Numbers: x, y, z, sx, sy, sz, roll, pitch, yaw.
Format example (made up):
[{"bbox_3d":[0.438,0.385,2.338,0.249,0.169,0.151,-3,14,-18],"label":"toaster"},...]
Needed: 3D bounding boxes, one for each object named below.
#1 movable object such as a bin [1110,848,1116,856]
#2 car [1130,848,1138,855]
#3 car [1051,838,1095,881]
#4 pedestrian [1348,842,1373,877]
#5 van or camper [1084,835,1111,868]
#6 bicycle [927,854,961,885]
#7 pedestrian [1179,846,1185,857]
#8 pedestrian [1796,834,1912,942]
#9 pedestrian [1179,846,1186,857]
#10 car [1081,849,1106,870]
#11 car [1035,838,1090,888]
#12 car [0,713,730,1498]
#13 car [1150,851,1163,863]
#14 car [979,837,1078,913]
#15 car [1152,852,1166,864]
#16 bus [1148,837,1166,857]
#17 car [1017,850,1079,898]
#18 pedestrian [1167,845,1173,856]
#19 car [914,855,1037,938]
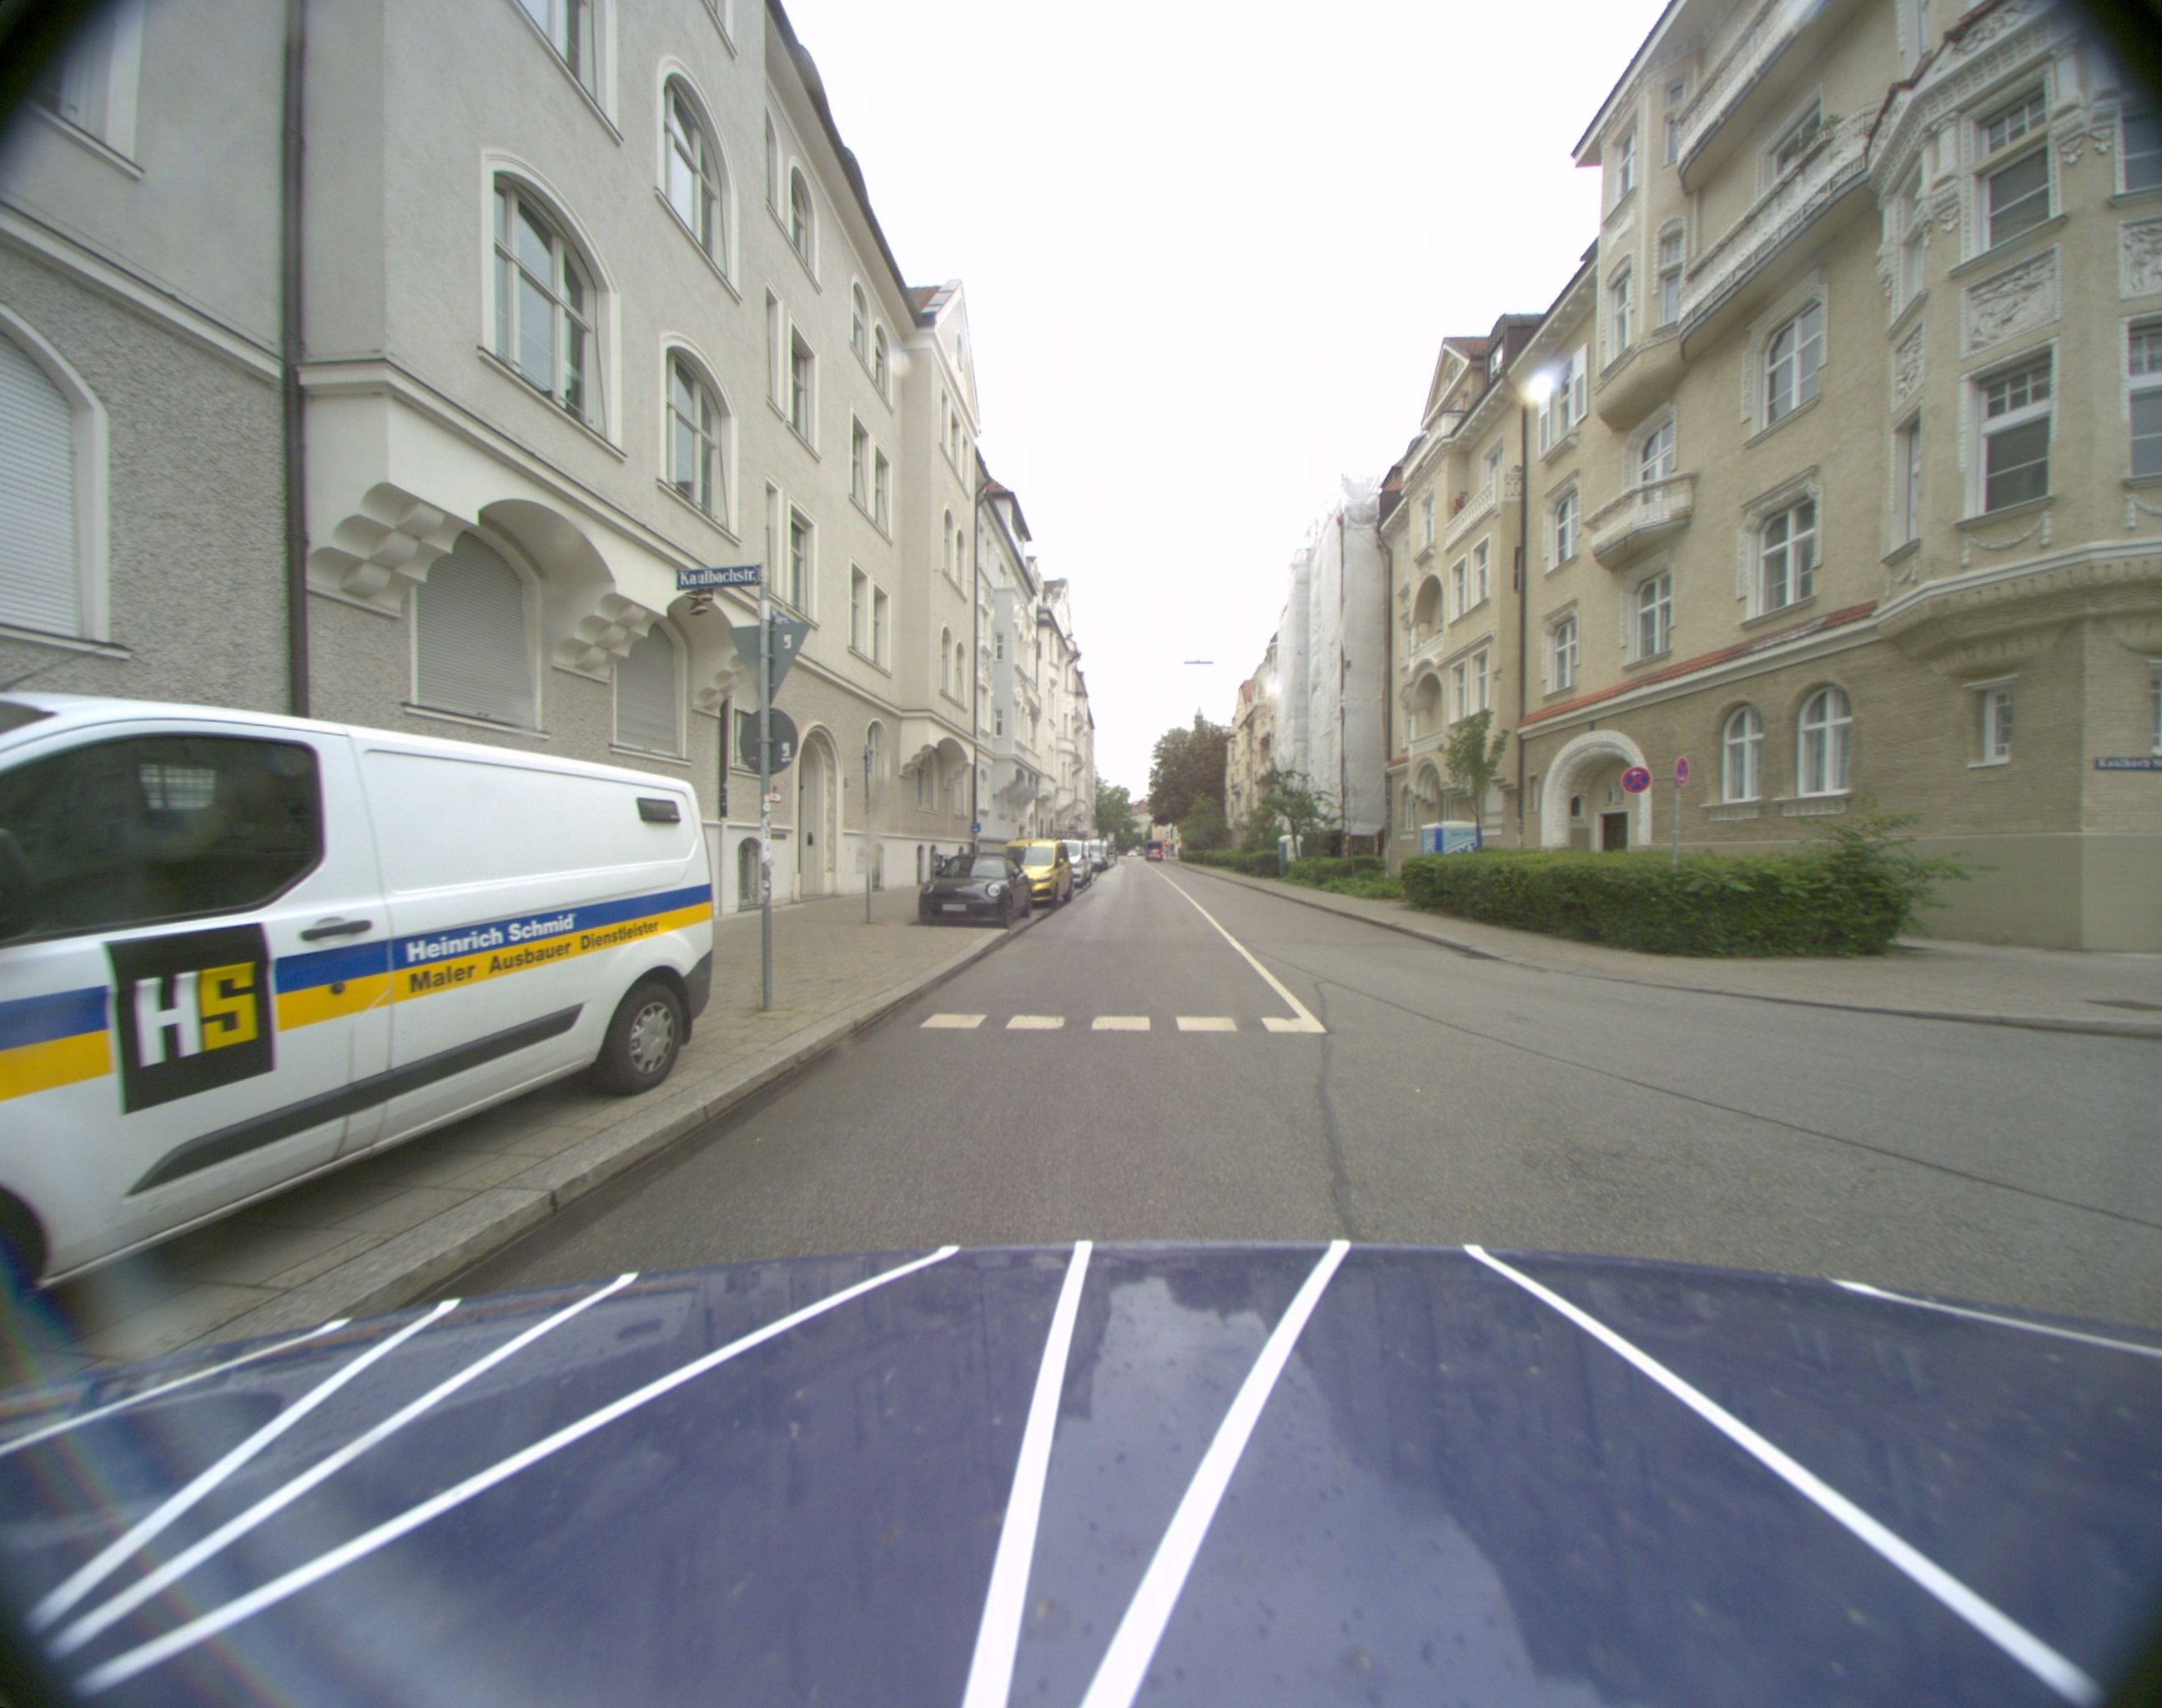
[{"bbox_3d":[5.259,-0.304,124.422,0.877,1.243,0.798,1,1,-2],"label":"movable object such as a bin"},{"bbox_3d":[12.823,-0.563,183.626,1.926,1.608,4.000,0,1,3],"label":"car"},{"bbox_3d":[-0.333,0.245,38.567,1.964,2.002,4.993,1,1,2],"label":"car"},{"bbox_3d":[14.138,0.257,38.454,0.915,1.741,0.948,1,1,4],"label":"pedestrian"},{"bbox_3d":[1.424,-0.242,63.115,1.958,2.622,5.459,1,1,4],"label":"van or camper"},{"bbox_3d":[-5.208,0.570,29.012,0.696,1.087,2.037,3,1,5],"label":"bicycle"},{"bbox_3d":[15.568,-0.431,116.850,0.875,1.735,0.911,1,1,3],"label":"pedestrian"},{"bbox_3d":[13.396,0.570,13.212,0.890,1.799,1.056,1,1,-2],"label":"pedestrian"},{"bbox_3d":[15.370,-0.397,115.110,0.909,1.735,0.847,1,1,3],"label":"pedestrian"},{"bbox_3d":[0.957,0.394,57.031,1.757,1.426,4.087,1,1,3],"label":"car"},{"bbox_3d":[-0.691,0.343,32.138,1.964,1.926,4.993,1,1,2],"label":"car"},{"bbox_3d":[-3.567,0.595,2.893,1.920,1.950,4.928,2,1,3],"label":"car"},{"bbox_3d":[10.490,0.395,105.418,1.588,1.471,3.783,1,1,3],"label":"car"},{"bbox_3d":[-1.307,0.497,21.191,1.854,1.842,4.823,1,1,7],"label":"car"},{"bbox_3d":[11.419,0.531,111.584,1.772,1.635,4.274,1,1,3],"label":"car"},{"bbox_3d":[12.160,-1.123,122.184,2.585,3.083,8.925,1,1,4],"label":"bus"},{"bbox_3d":[-1.068,0.629,26.250,1.635,1.476,3.784,1,1,5],"label":"car"},{"bbox_3d":[17.597,-0.701,150.743,0.951,2.002,1.397,1,1,14],"label":"pedestrian"},{"bbox_3d":[-2.041,0.771,15.745,1.667,1.449,3.897,1,1,5],"label":"car"}]
